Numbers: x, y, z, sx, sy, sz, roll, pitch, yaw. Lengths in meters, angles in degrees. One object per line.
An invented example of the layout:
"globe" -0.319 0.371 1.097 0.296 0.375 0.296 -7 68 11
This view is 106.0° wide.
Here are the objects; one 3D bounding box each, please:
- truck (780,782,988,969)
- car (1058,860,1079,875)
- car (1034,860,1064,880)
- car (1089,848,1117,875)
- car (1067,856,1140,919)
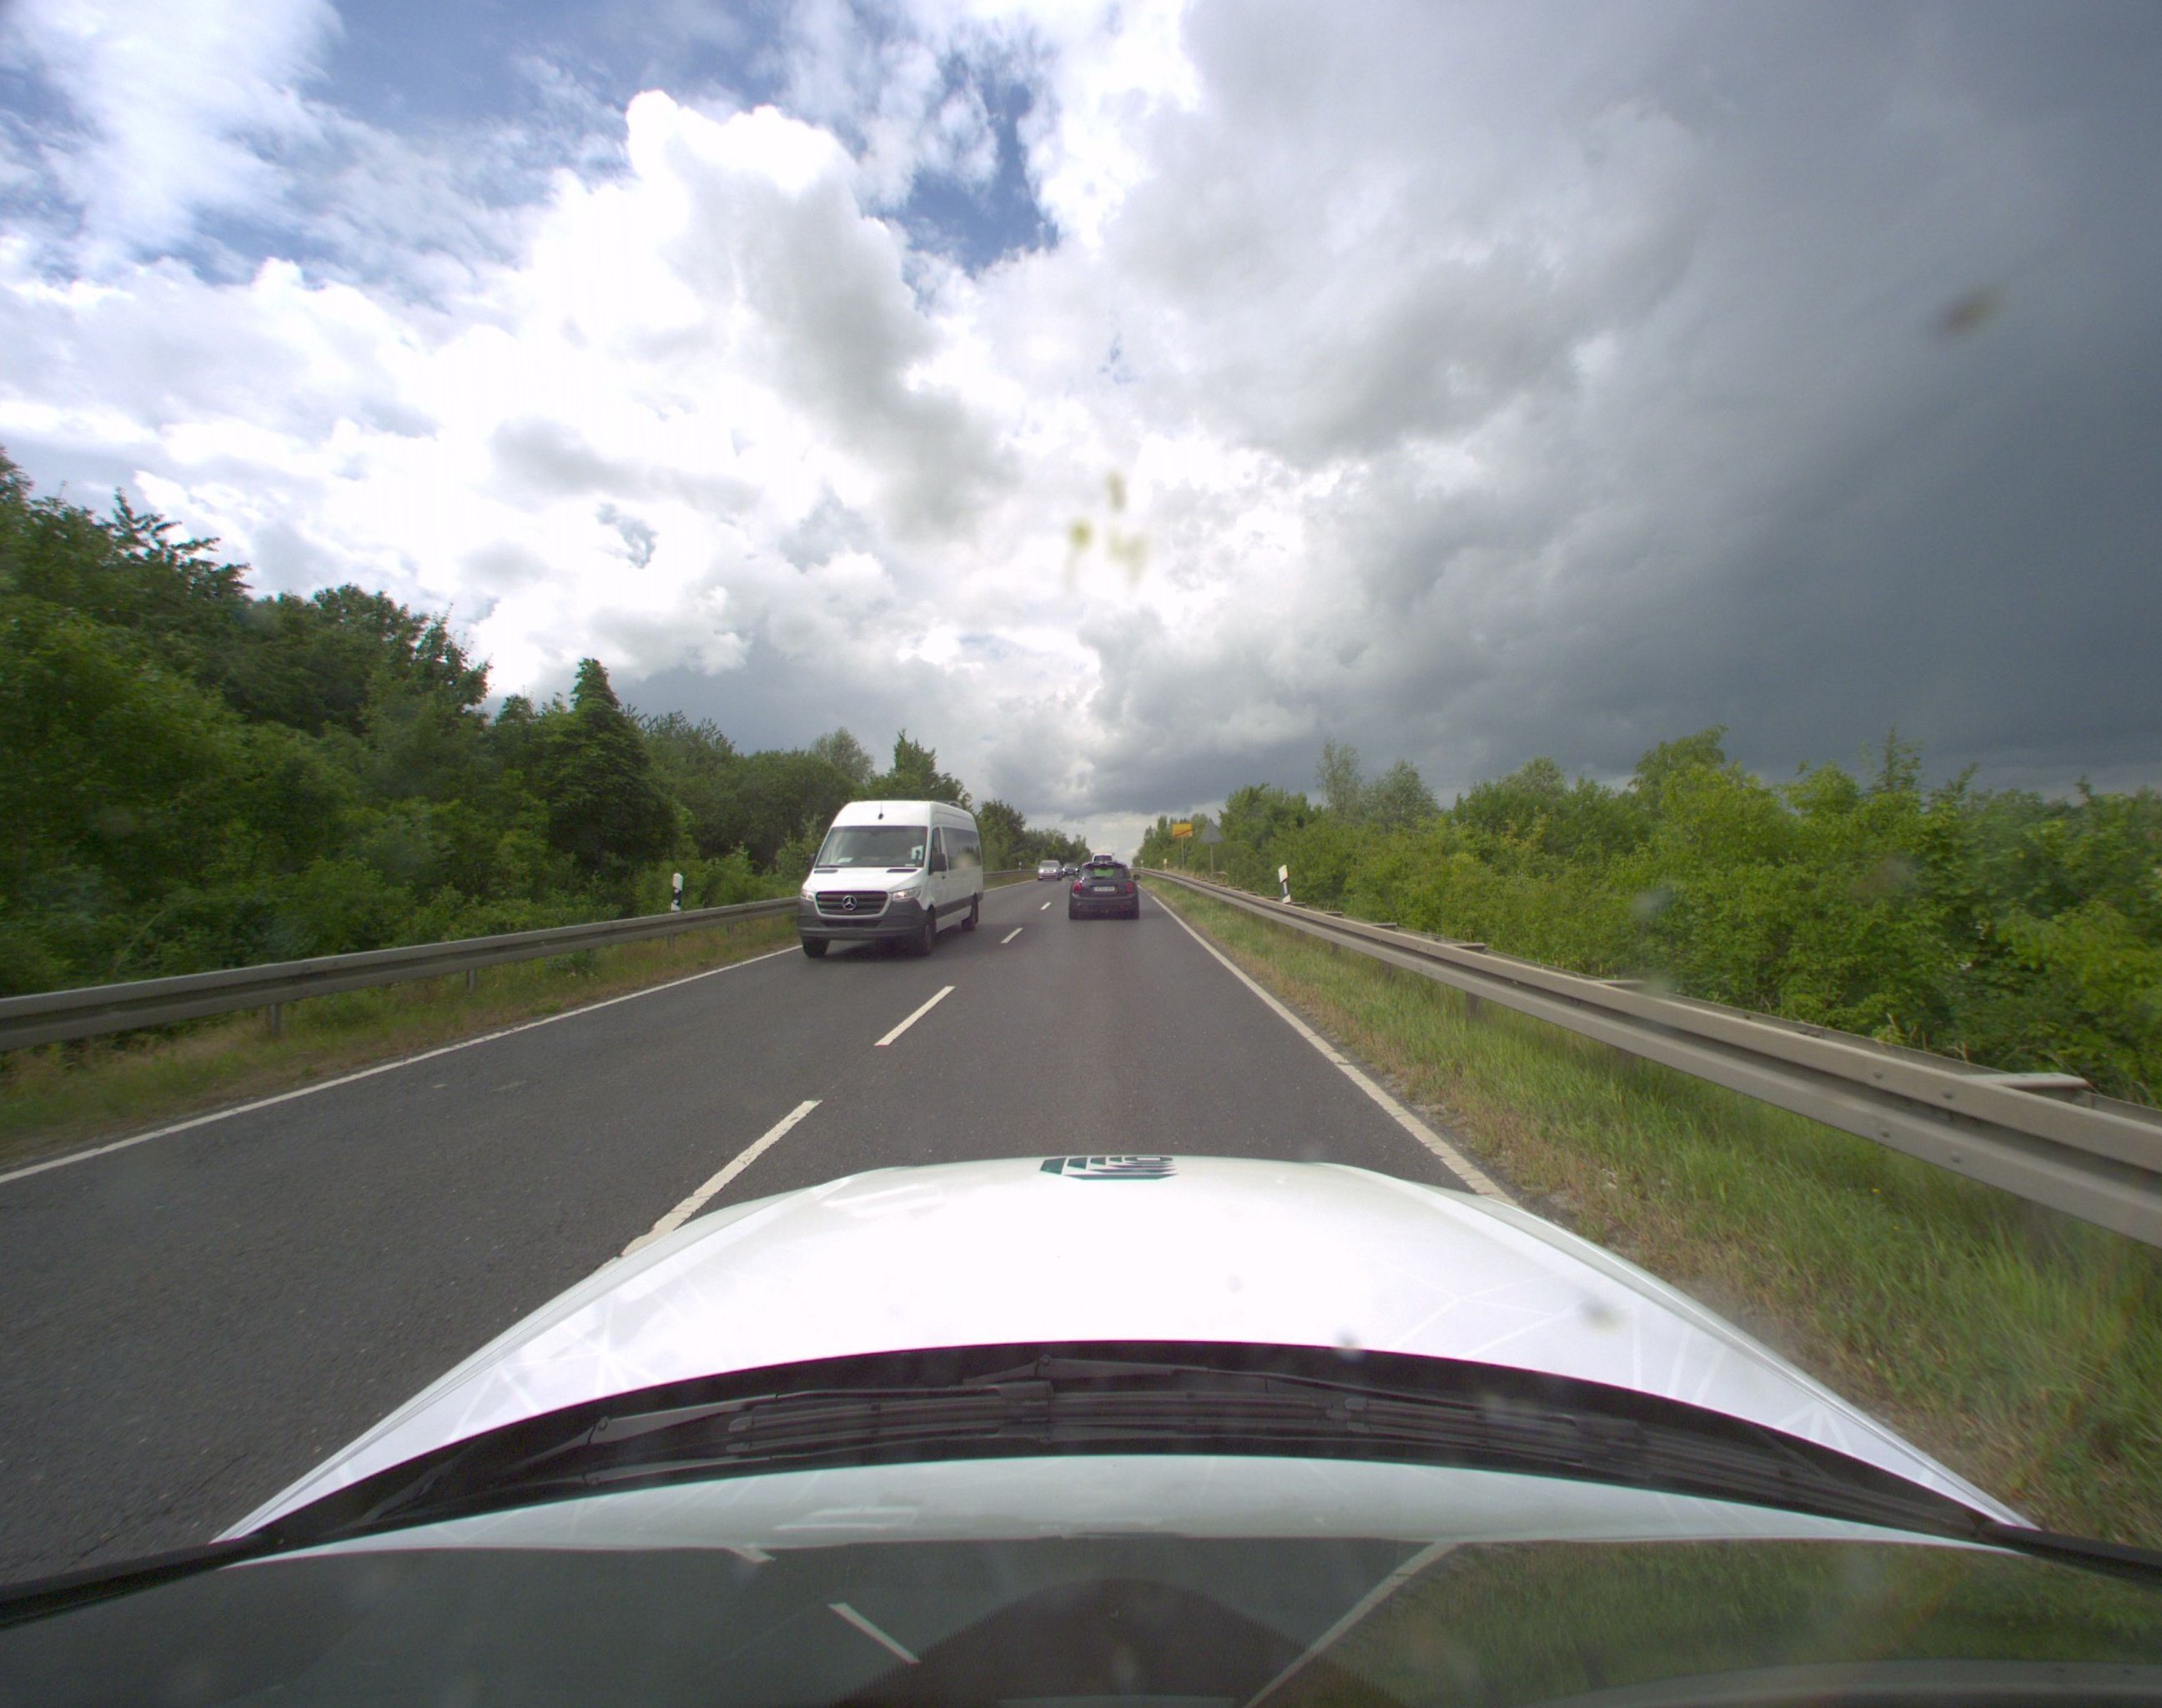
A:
"truck" -3.328 0.323 15.574 2.057 2.742 7.009 -1 0 1
"car" -1.202 1.269 78.852 1.828 1.420 4.002 0 -1 2
"car" -2.328 1.153 60.038 1.828 1.445 4.002 0 -1 2
"car" 1.707 0.554 63.462 2.015 2.013 4.001 -1 0 1
"car" 0.614 0.807 21.442 1.725 1.456 4.002 -1 0 2
